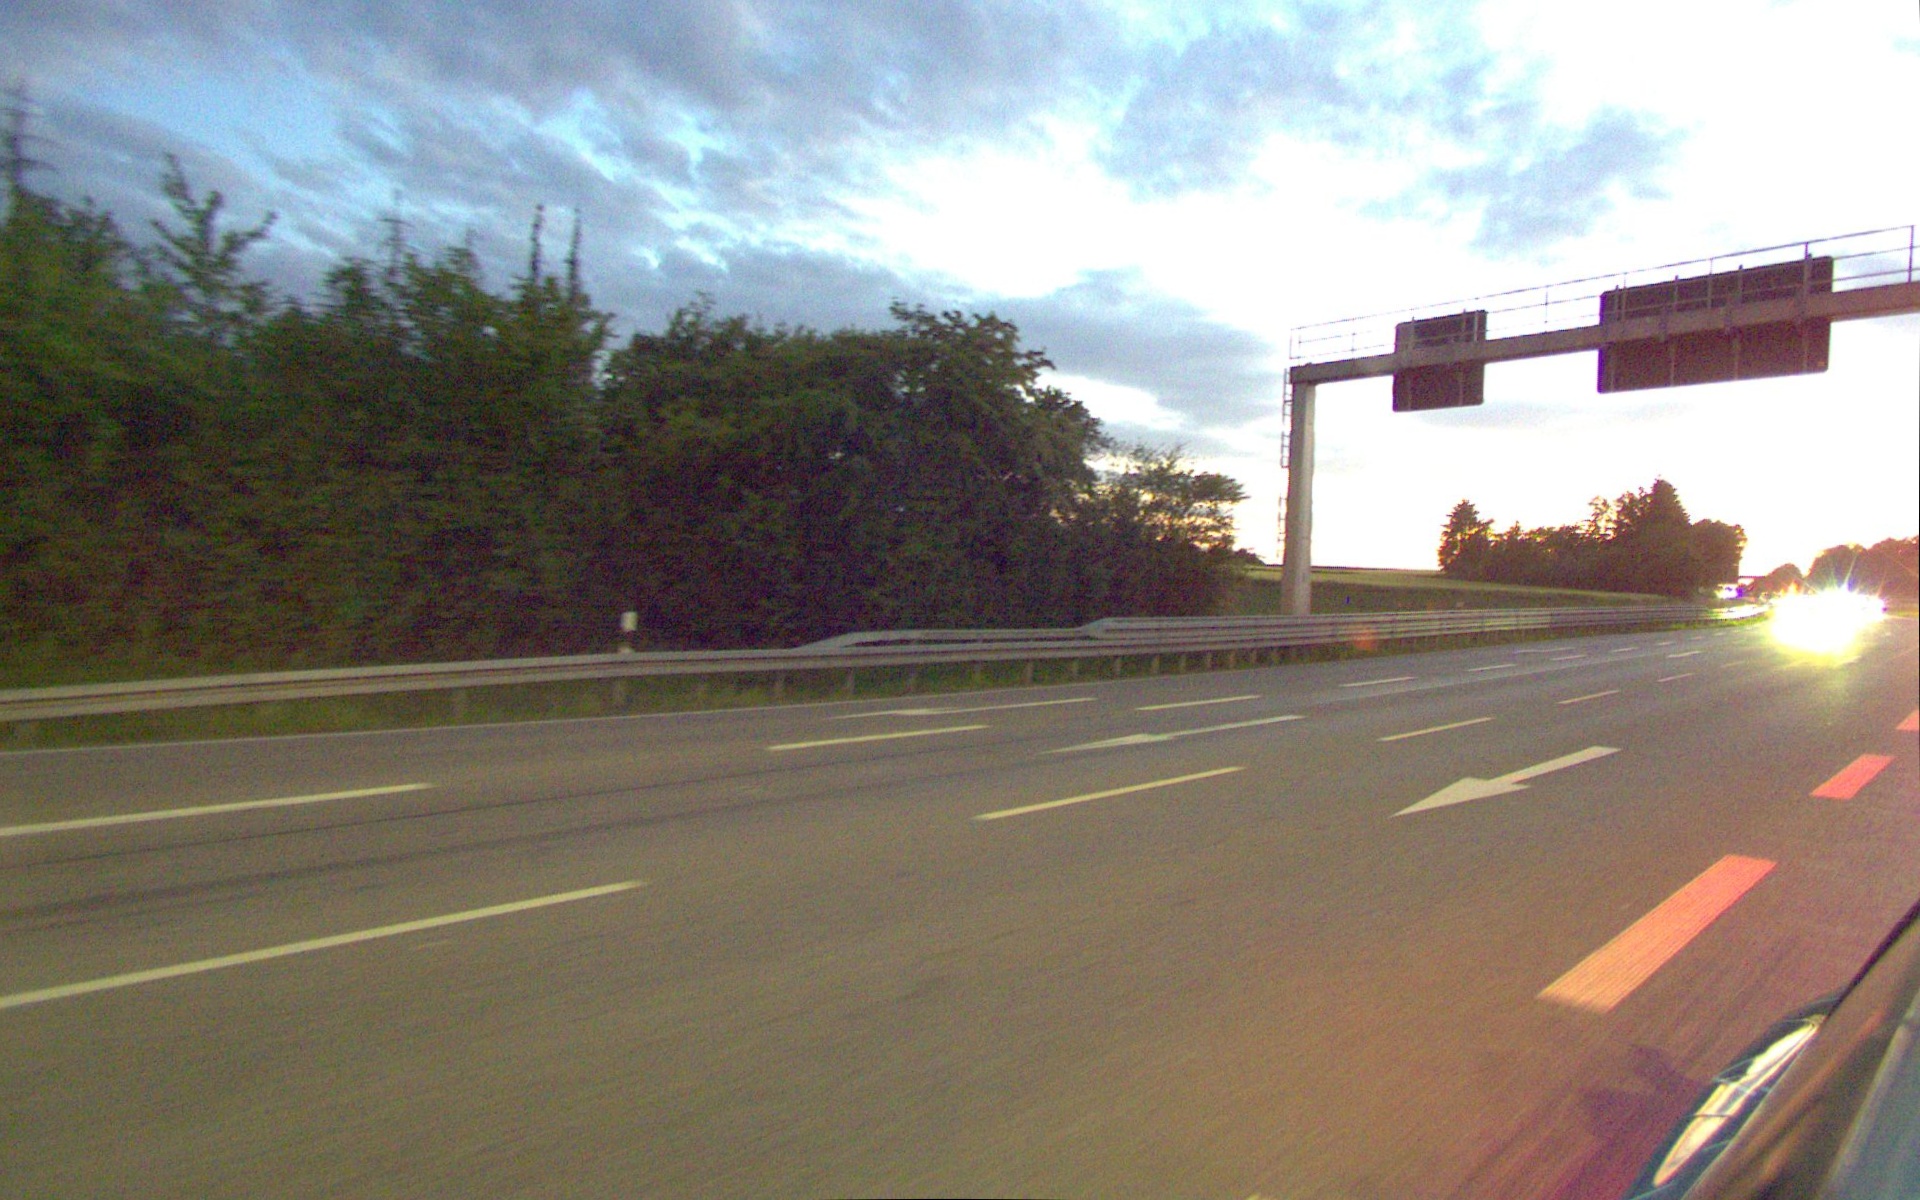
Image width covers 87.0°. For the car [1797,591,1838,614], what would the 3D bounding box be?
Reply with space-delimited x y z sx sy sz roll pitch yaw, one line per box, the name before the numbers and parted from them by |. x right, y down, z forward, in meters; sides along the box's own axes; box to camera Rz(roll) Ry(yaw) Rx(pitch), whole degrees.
car | 61.790 0.162 72.905 1.993 1.604 3.937 0 0 44

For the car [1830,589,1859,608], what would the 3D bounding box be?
car | 82.825 -0.147 94.815 1.824 1.772 3.796 -1 -1 39

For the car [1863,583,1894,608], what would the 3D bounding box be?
car | 75.931 -0.361 83.650 1.857 2.039 3.937 -1 0 43

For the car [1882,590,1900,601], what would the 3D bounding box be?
car | 147.821 -0.693 160.753 1.697 1.643 4.247 1 1 38
